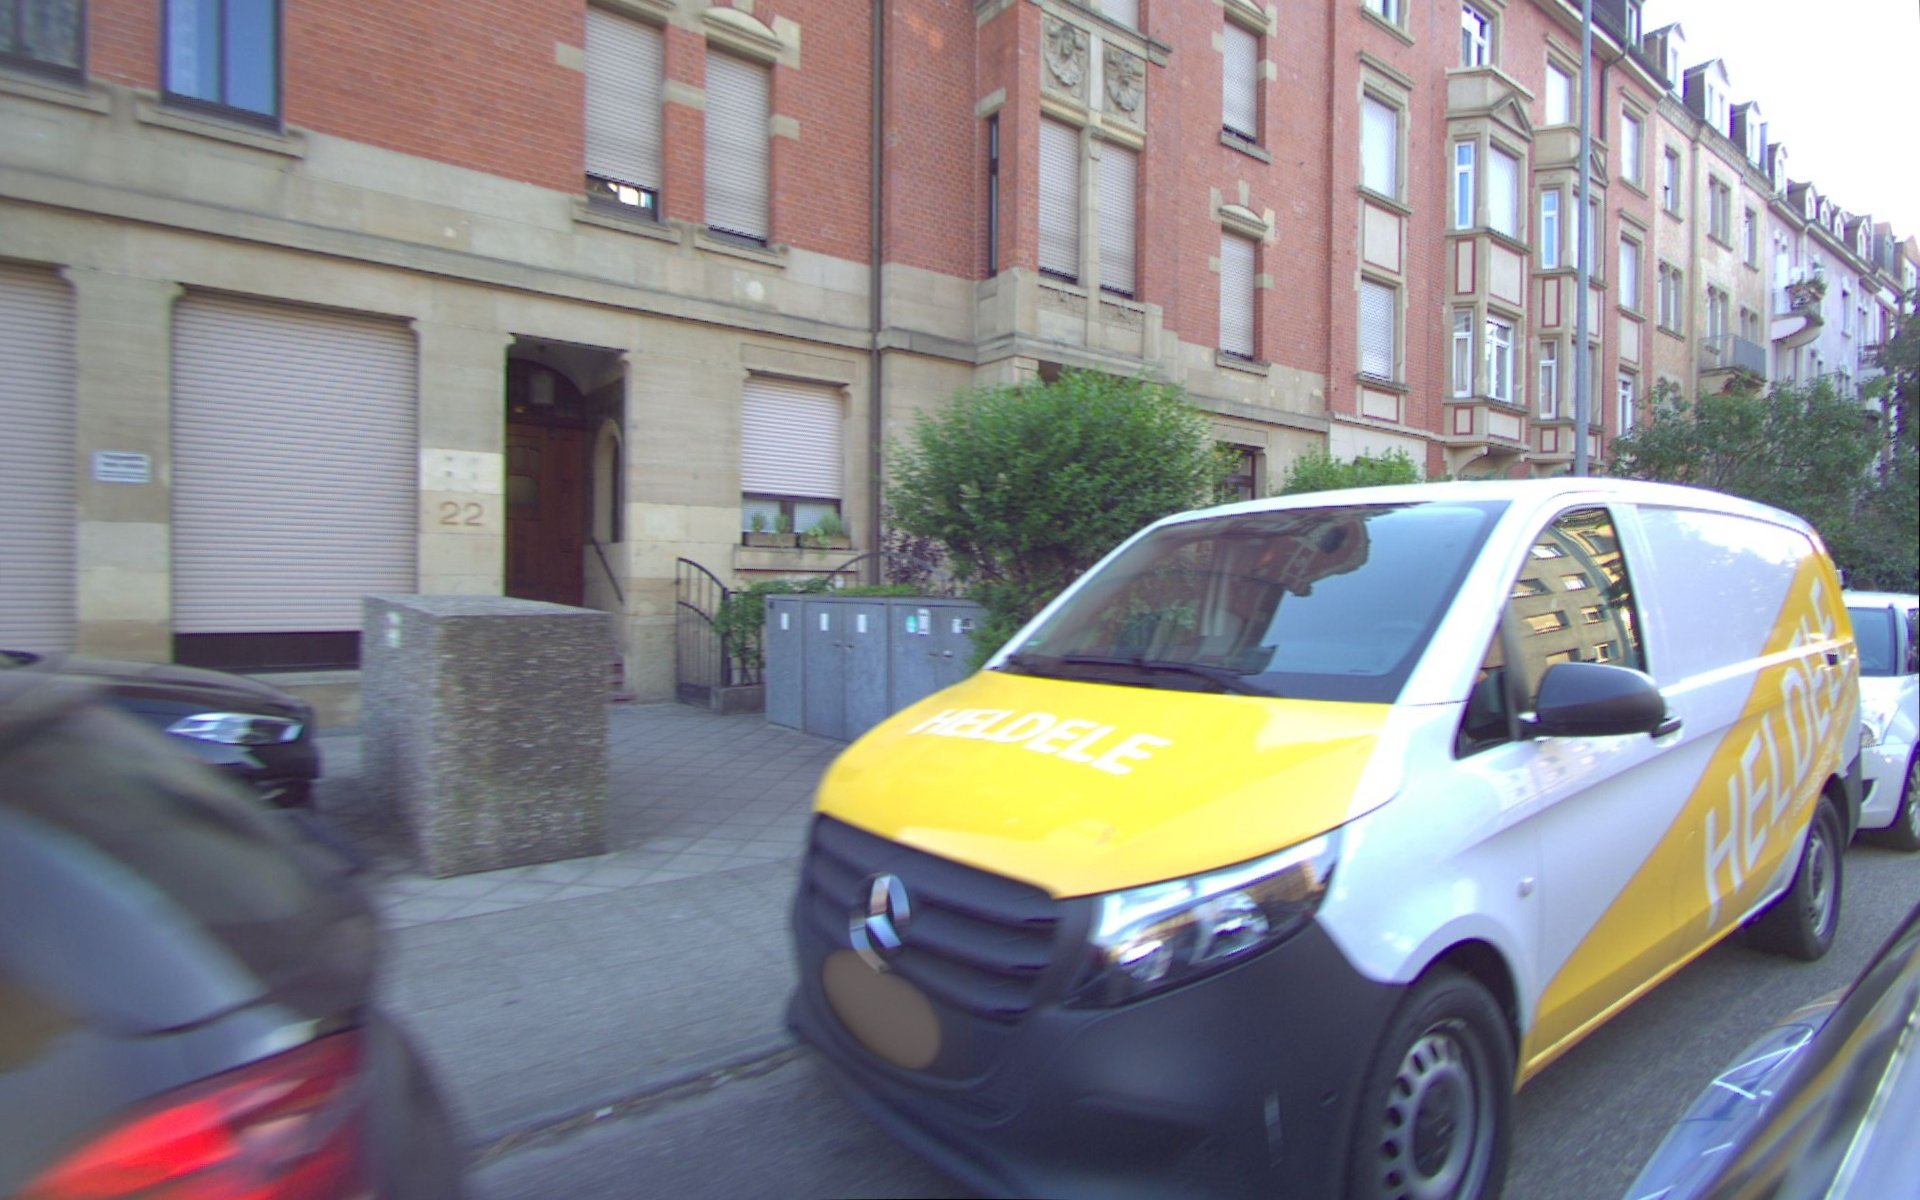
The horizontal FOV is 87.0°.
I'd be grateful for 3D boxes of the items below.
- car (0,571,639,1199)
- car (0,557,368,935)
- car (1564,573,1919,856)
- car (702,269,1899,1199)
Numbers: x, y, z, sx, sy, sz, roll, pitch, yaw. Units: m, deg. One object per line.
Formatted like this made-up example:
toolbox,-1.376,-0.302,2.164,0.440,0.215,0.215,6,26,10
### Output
car,-2.495,0.713,0.444,4.175,1.442,1.726,0,0,-37
car,-4.967,0.548,4.017,4.343,1.441,1.731,-1,3,-38
car,6.049,0.585,7.123,3.788,1.495,1.680,0,0,-35
car,1.754,0.416,3.860,4.989,1.907,1.898,0,0,-38
